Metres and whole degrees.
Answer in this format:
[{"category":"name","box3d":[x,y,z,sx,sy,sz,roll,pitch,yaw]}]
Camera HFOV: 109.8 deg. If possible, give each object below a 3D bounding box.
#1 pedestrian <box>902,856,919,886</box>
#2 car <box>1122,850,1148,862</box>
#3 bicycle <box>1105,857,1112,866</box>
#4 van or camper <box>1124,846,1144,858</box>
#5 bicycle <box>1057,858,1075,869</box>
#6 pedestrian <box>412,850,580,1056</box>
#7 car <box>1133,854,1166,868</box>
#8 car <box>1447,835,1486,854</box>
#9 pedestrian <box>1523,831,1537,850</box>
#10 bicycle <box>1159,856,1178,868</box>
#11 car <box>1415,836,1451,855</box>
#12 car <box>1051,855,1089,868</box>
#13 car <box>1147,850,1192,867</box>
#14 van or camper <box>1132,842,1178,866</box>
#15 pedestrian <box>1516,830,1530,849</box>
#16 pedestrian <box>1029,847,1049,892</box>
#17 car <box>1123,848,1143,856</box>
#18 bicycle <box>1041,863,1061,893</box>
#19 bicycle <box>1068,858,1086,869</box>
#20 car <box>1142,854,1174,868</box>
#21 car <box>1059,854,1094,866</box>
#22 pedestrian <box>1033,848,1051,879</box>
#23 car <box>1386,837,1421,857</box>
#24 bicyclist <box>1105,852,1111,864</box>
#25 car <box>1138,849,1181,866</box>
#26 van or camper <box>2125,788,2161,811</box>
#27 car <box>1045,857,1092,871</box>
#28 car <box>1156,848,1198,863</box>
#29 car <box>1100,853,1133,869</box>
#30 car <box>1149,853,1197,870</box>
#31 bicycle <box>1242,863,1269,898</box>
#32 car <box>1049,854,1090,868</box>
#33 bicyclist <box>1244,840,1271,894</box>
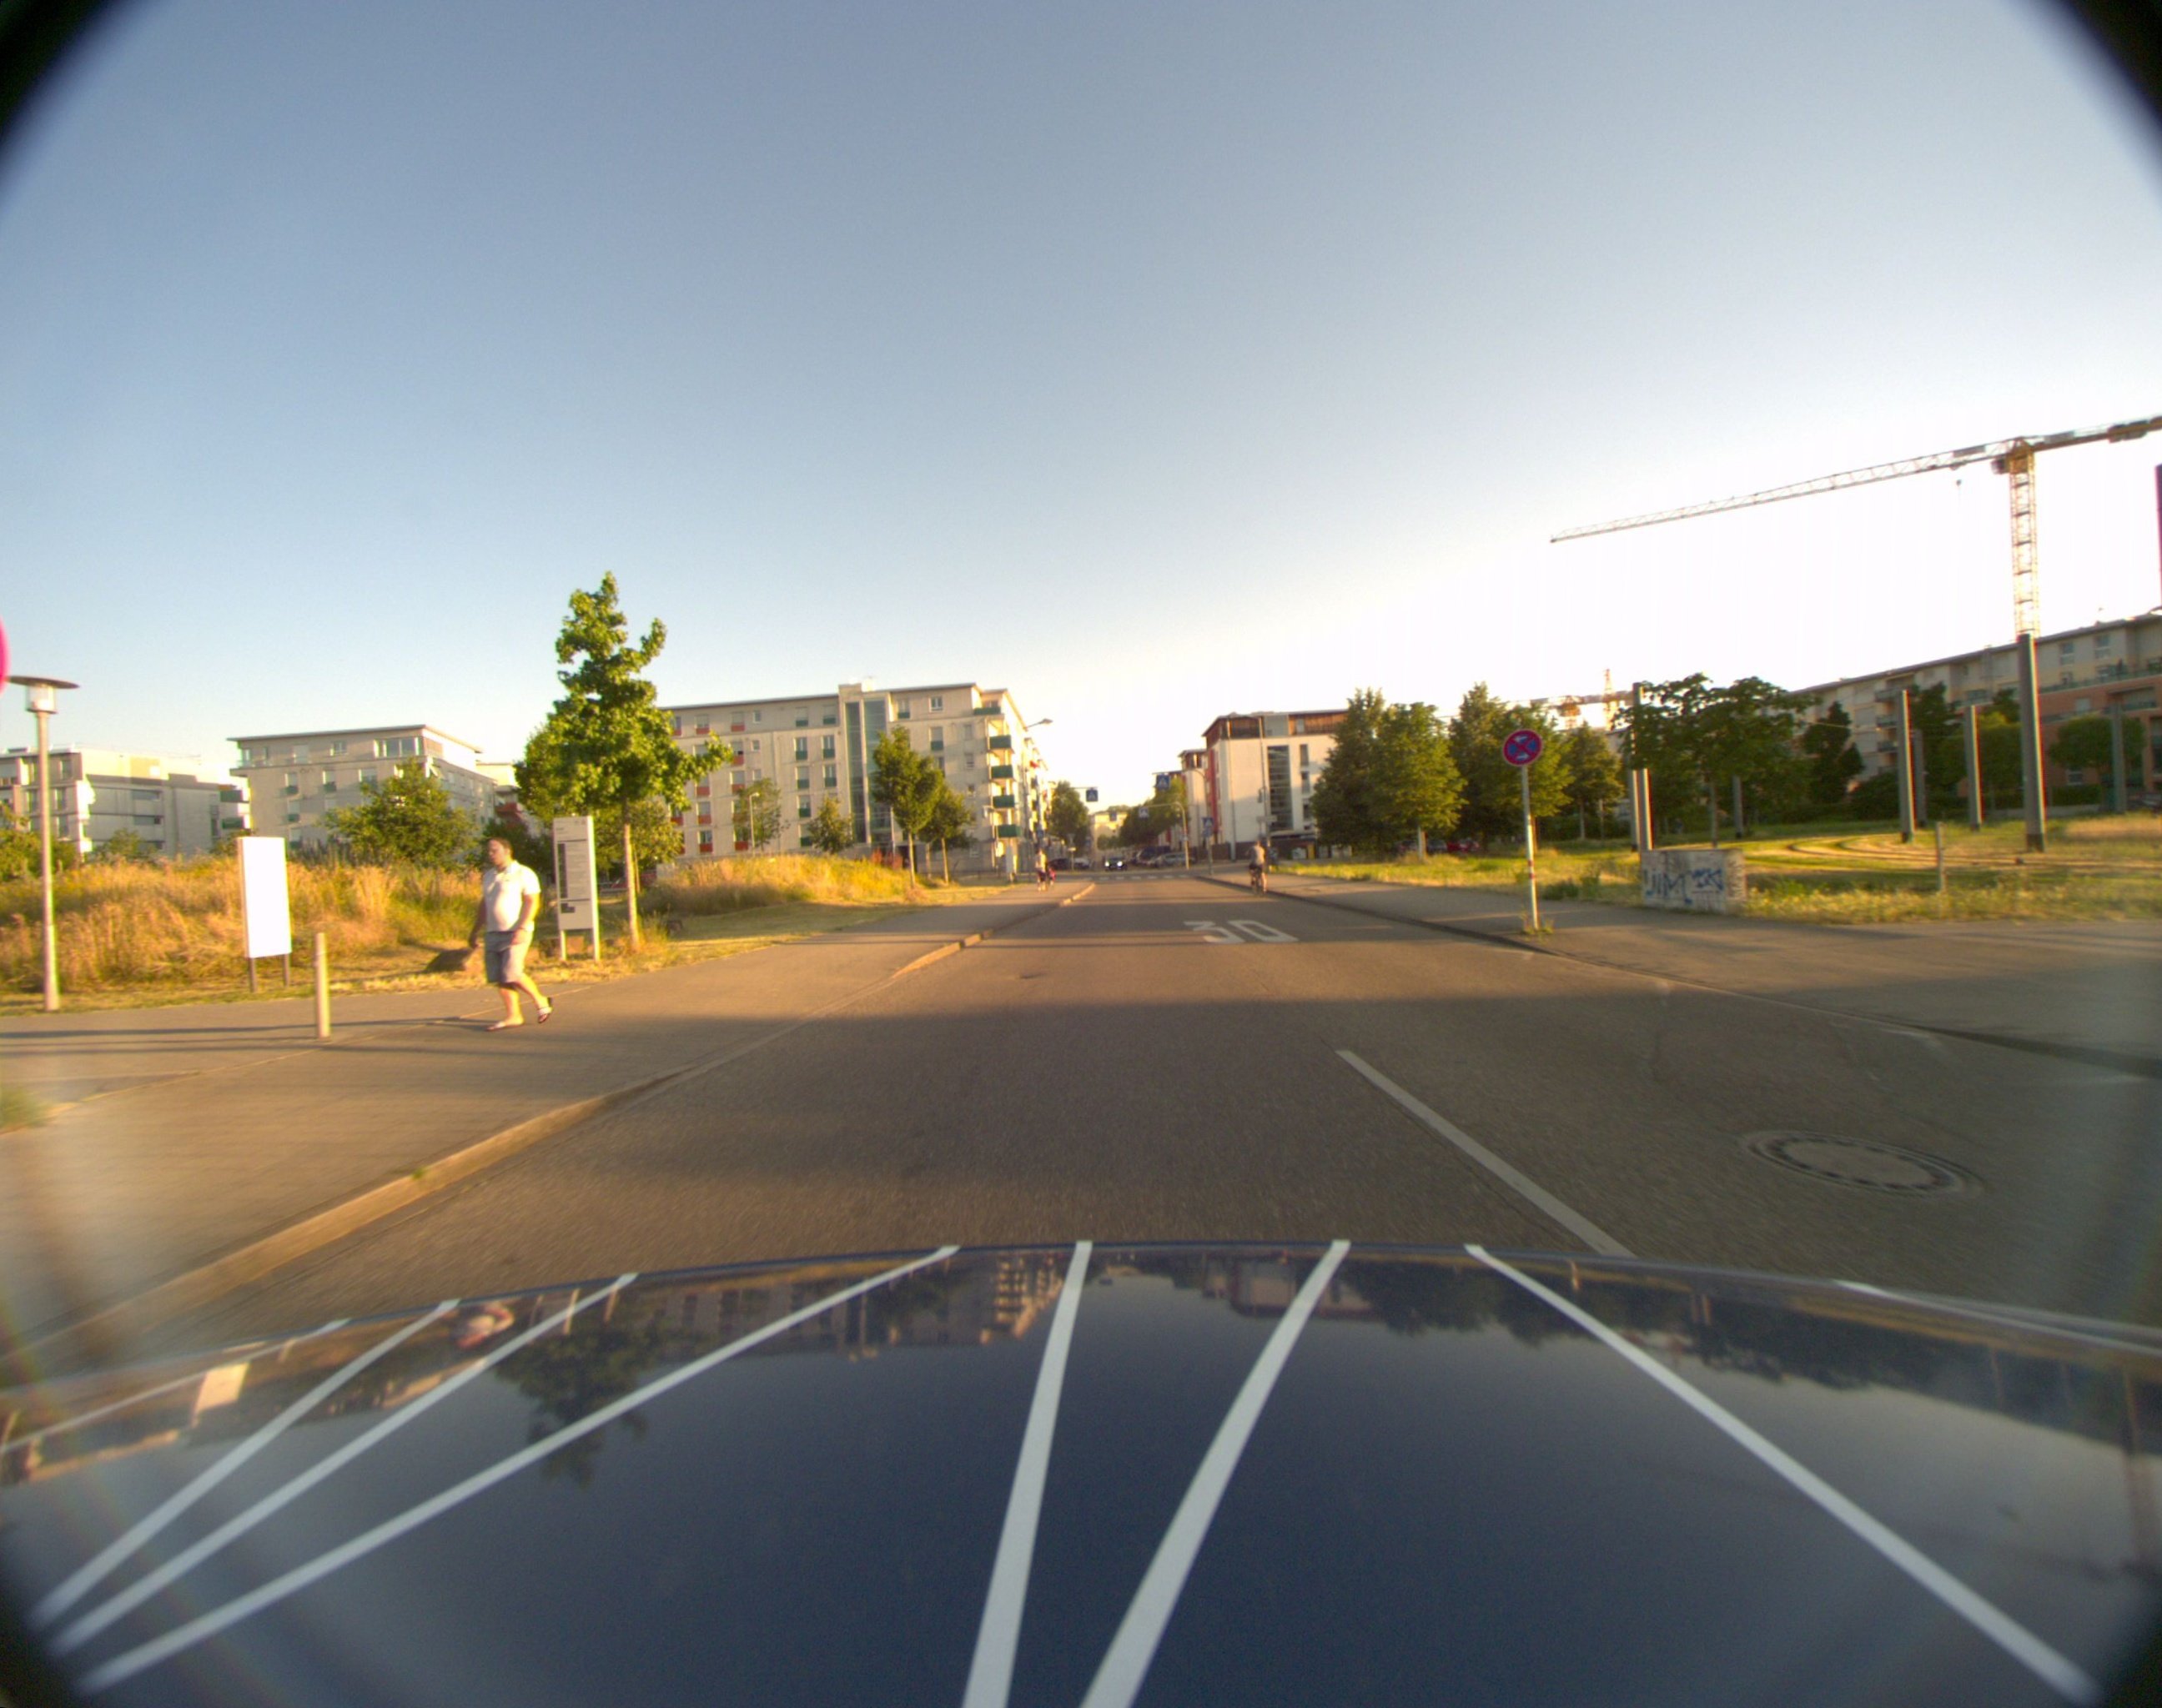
[{"category":"pedestrian","box3d":[-10.688,1.061,47.575,0.733,1.773,0.802,-3,0,2]},{"category":"car","box3d":[8.985,0.301,127.621,4.251,1.919,1.693,-1,0,0]},{"category":"bicycle","box3d":[3.848,1.017,106.656,0.771,1.259,1.782,-3,-1,0]},{"category":"van or camper","box3d":[11.479,-0.417,164.087,4.250,2.520,1.761,-1,0,2]},{"category":"bicycle","box3d":[-1.580,0.969,78.356,1.792,1.035,0.567,-1,-1,-3]},{"category":"pedestrian","box3d":[-5.329,0.856,6.973,0.833,1.756,0.818,0,2,7]},{"category":"car","box3d":[9.200,0.910,101.569,4.102,1.616,1.724,-4,0,-3]},{"category":"car","box3d":[32.380,-0.773,63.913,1.593,1.491,3.411,-3,0,3]},{"category":"pedestrian","box3d":[39.124,-1.173,66.205,0.743,1.657,0.624,-5,1,-14]},{"category":"bicycle","box3d":[9.098,0.837,78.750,1.821,1.060,0.567,-6,0,-1]},{"category":"car","box3d":[29.819,-0.720,64.459,1.593,1.491,3.411,-3,0,3]},{"category":"car","box3d":[-1.289,0.842,86.932,4.293,1.485,1.743,-1,0,1]},{"category":"car","box3d":[10.013,0.522,86.281,4.785,1.546,1.711,-5,0,1]},{"category":"van or camper","box3d":[10.911,-0.035,111.950,6.314,3.069,2.442,-4,0,-3]},{"category":"pedestrian","box3d":[38.878,-1.245,66.849,0.713,1.590,0.656,-5,1,-17]},{"category":"pedestrian","box3d":[-1.726,0.626,31.107,0.596,1.791,0.818,-3,0,7]},{"category":"car","box3d":[10.927,-0.430,159.225,4.250,1.775,1.693,-1,0,2]},{"category":"bicycle","box3d":[-1.209,0.950,31.003,0.451,1.161,1.942,-3,-1,6]},{"category":"bicycle","box3d":[-0.415,0.984,79.066,1.839,1.065,0.473,-1,-1,-3]},{"category":"car","box3d":[9.983,0.892,98.827,3.919,1.506,1.724,-4,0,-3]},{"category":"car","box3d":[-0.595,0.738,94.222,4.294,1.499,1.685,0,0,-2]},{"category":"pedestrian","box3d":[-2.204,0.546,42.993,0.801,1.719,0.768,-3,0,9]},{"category":"car","box3d":[27.455,-0.592,64.783,1.689,1.513,3.411,-3,0,3]},{"category":"bicyclist","box3d":[3.821,0.554,106.666,0.767,1.618,0.663,-3,0,0]},{"category":"car","box3d":[9.189,0.453,89.324,4.759,1.575,1.758,-5,0,-3]},{"category":"van or camper","box3d":[85.680,-4.373,59.746,1.833,1.684,3.881,-3,-1,2]},{"category":"car","box3d":[-1.346,1.042,81.389,4.886,1.449,1.938,-1,0,3]},{"category":"car","box3d":[10.225,0.200,81.293,4.291,1.449,1.680,-2,0,-1]},{"category":"car","box3d":[3.493,0.692,74.002,1.774,1.454,4.186,-1,-1,24]},{"category":"car","box3d":[10.147,0.854,84.039,4.915,1.469,1.711,-5,0,-1]},{"category":"bicycle","box3d":[5.615,0.829,24.495,0.540,1.037,1.926,-3,-1,5]},{"category":"car","box3d":[-1.231,0.809,84.208,4.411,1.499,1.743,-1,0,4]},{"category":"bicyclist","box3d":[5.659,0.410,24.455,0.616,1.652,1.037,-3,0,5]}]
